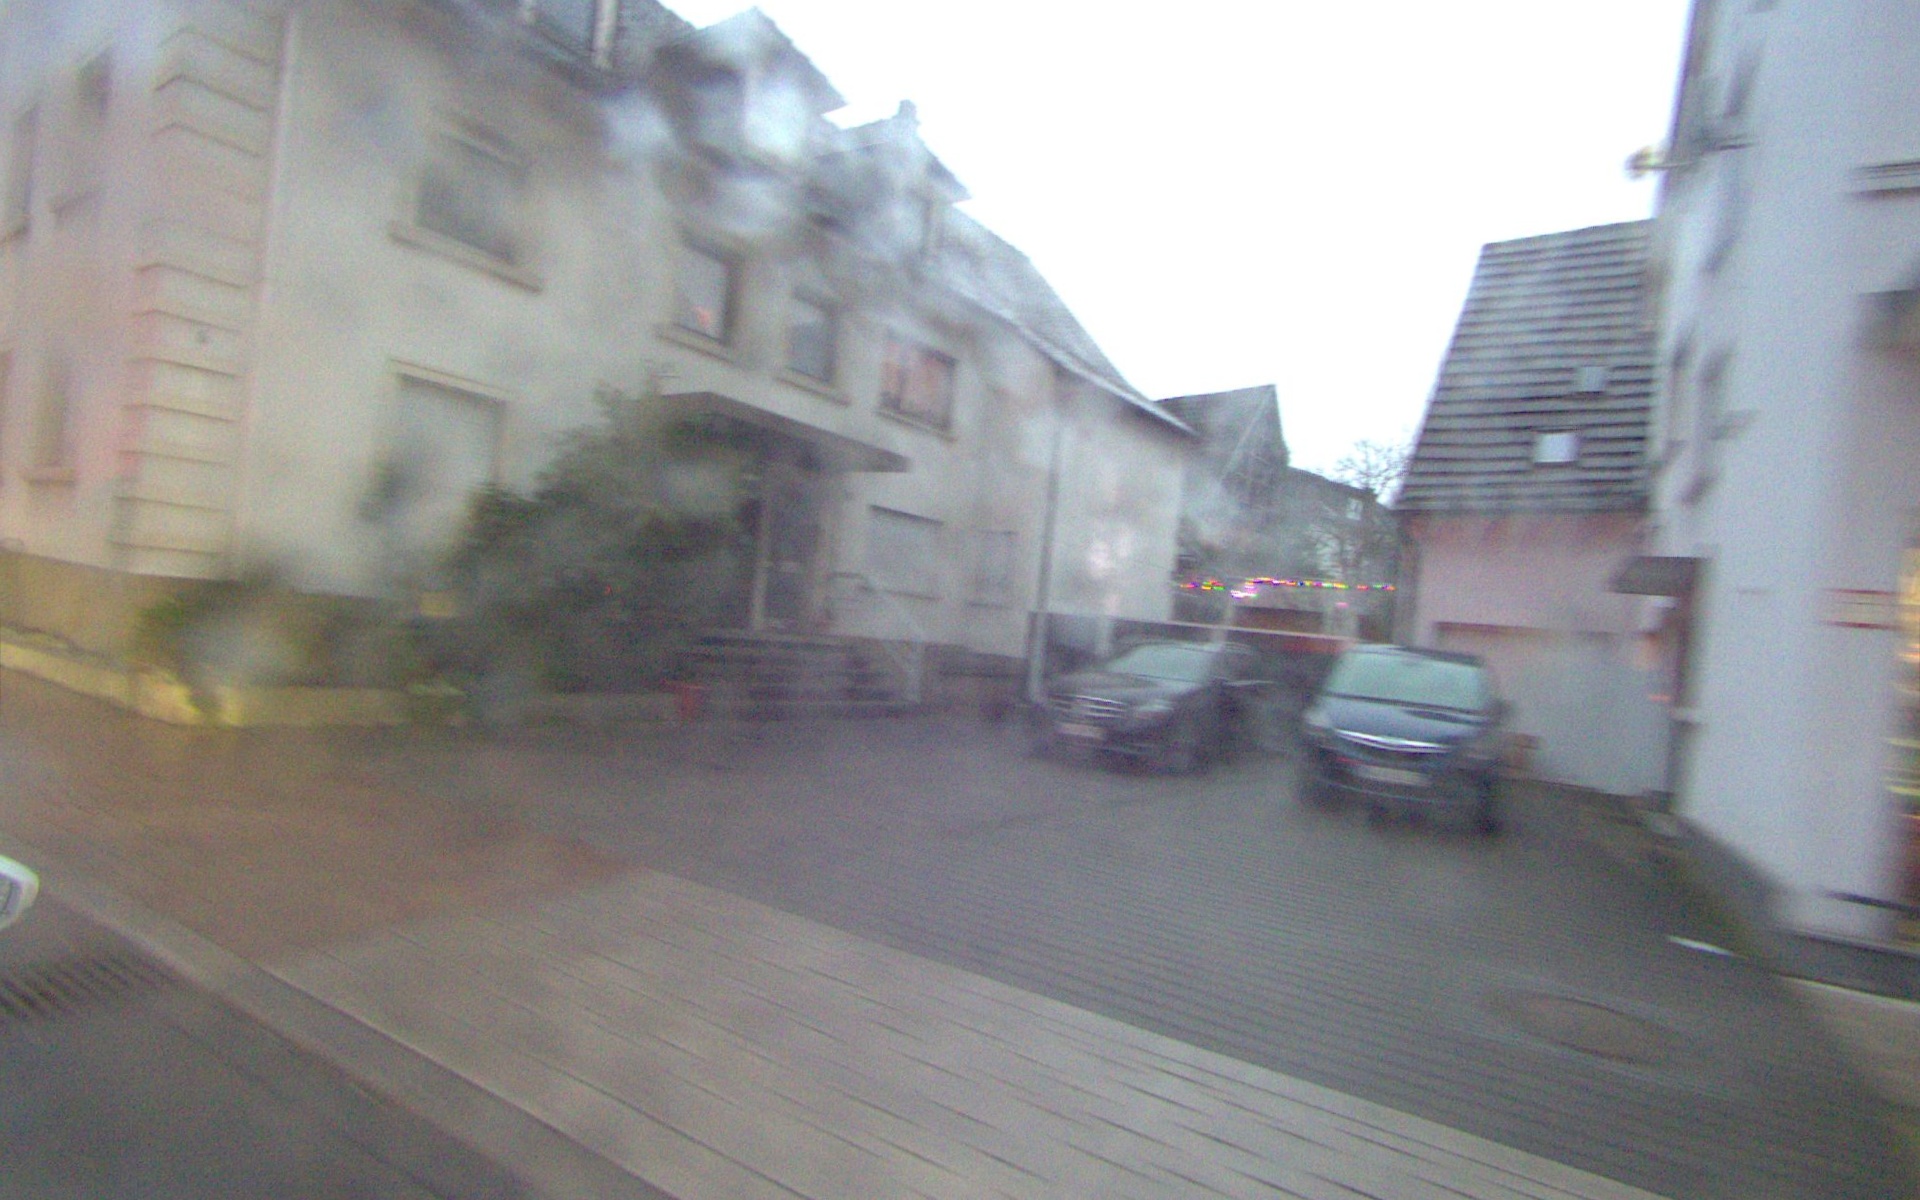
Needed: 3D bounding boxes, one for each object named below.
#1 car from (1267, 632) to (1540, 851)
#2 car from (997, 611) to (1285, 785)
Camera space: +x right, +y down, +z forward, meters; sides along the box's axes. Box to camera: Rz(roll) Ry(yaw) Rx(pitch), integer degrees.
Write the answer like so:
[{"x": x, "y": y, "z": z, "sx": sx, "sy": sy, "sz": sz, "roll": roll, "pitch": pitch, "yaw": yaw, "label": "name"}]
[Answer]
[{"x": 4.742, "y": 1.313, "z": 10.391, "sx": 1.967, "sy": 1.589, "sz": 3.992, "roll": 6, "pitch": -1, "yaw": 31, "label": "car"}, {"x": 2.331, "y": 1.110, "z": 12.038, "sx": 1.905, "sy": 1.542, "sz": 3.991, "roll": 6, "pitch": -1, "yaw": 33, "label": "car"}]
